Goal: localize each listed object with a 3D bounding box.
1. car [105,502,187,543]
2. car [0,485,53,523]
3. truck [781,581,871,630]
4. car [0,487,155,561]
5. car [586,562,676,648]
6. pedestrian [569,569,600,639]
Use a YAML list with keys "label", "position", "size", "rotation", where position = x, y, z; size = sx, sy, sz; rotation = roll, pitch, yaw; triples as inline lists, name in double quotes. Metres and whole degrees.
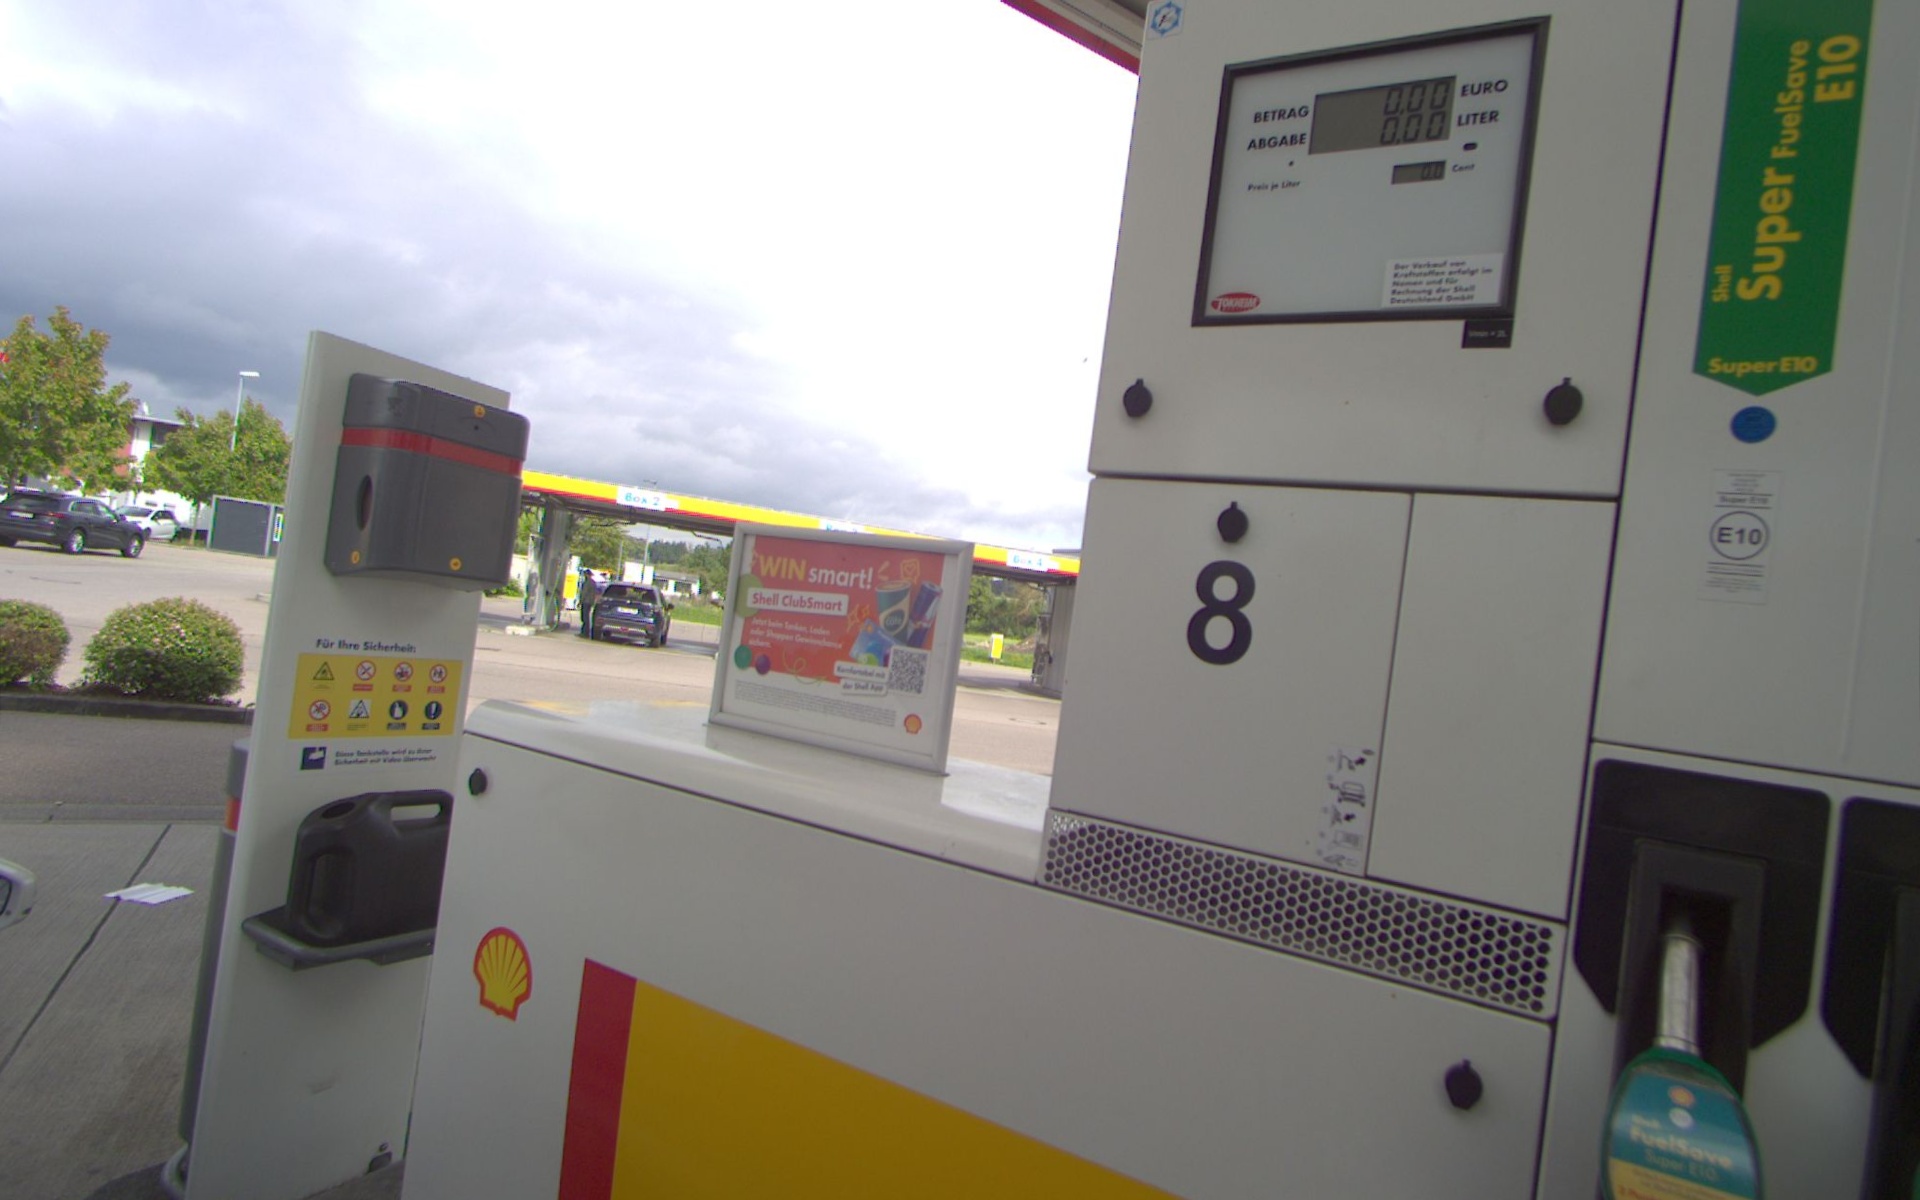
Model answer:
- label: "car"
  position: [-35.261, -3.342, 43.656]
  size: [1.346, 1.322, 3.098]
  rotation: [8, -2, -12]
- label: "car"
  position: [-57.362, -5.908, 60.252]
  size: [2.149, 1.854, 4.870]
  rotation: [8, -2, -11]
- label: "truck"
  position: [-13.019, 0.560, 97.517]
  size: [7.978, 3.575, 2.687]
  rotation: [8, -2, -19]
- label: "car"
  position: [-25.932, -2.169, 29.271]
  size: [1.855, 1.566, 4.498]
  rotation: [8, -2, -10]
- label: "car"
  position: [-8.700, 0.151, 26.872]
  size: [1.696, 1.919, 3.800]
  rotation: [8, -2, -12]
- label: "pedestrian"
  position: [-9.730, 0.096, 26.086]
  size: [0.550, 1.742, 0.526]
  rotation: [7, -1, -21]
